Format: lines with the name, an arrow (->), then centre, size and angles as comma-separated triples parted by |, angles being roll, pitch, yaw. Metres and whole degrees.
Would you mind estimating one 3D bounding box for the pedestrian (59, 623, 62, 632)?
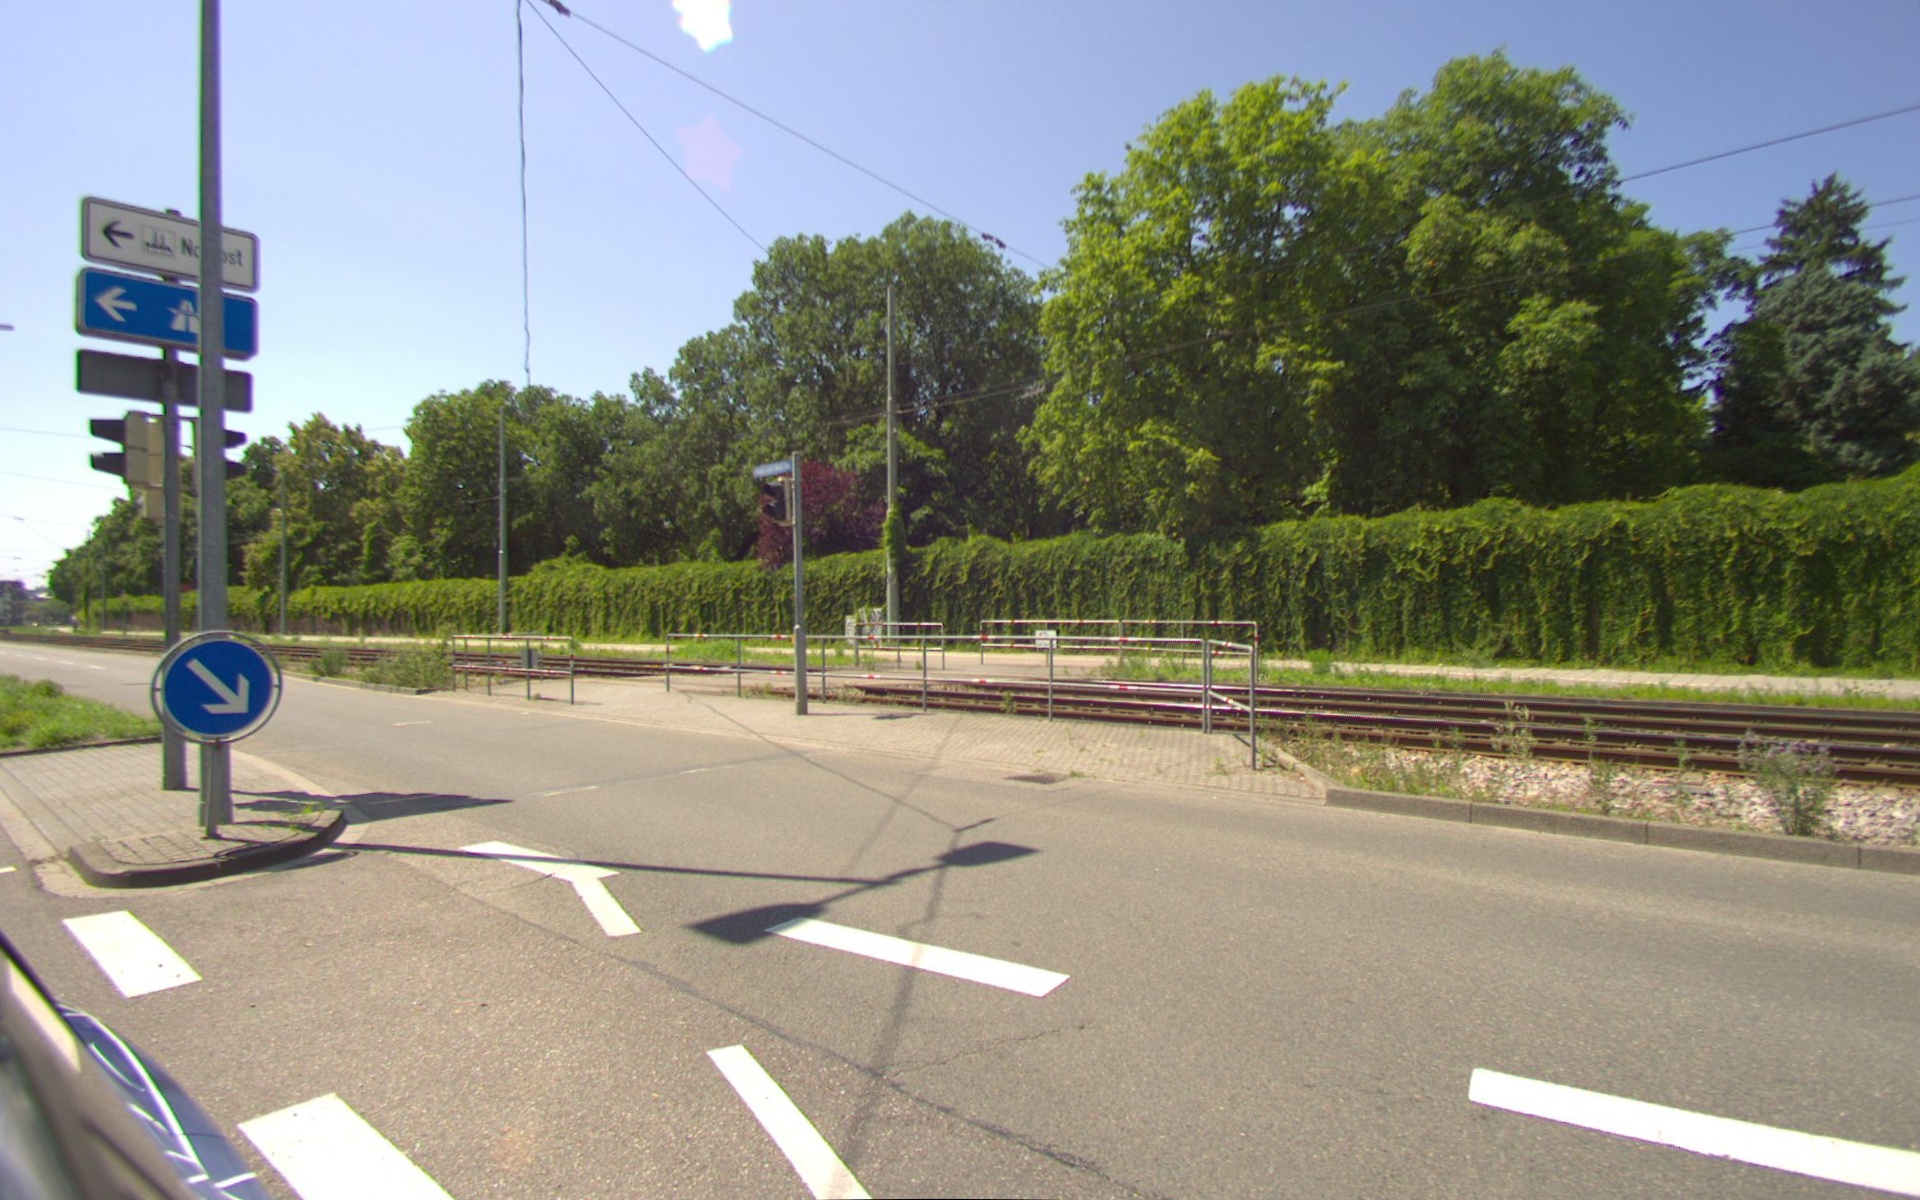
pedestrian -> -170.800, 5.290, 192.207 | 0.302, 1.677, 0.447 | -2, -1, 41
